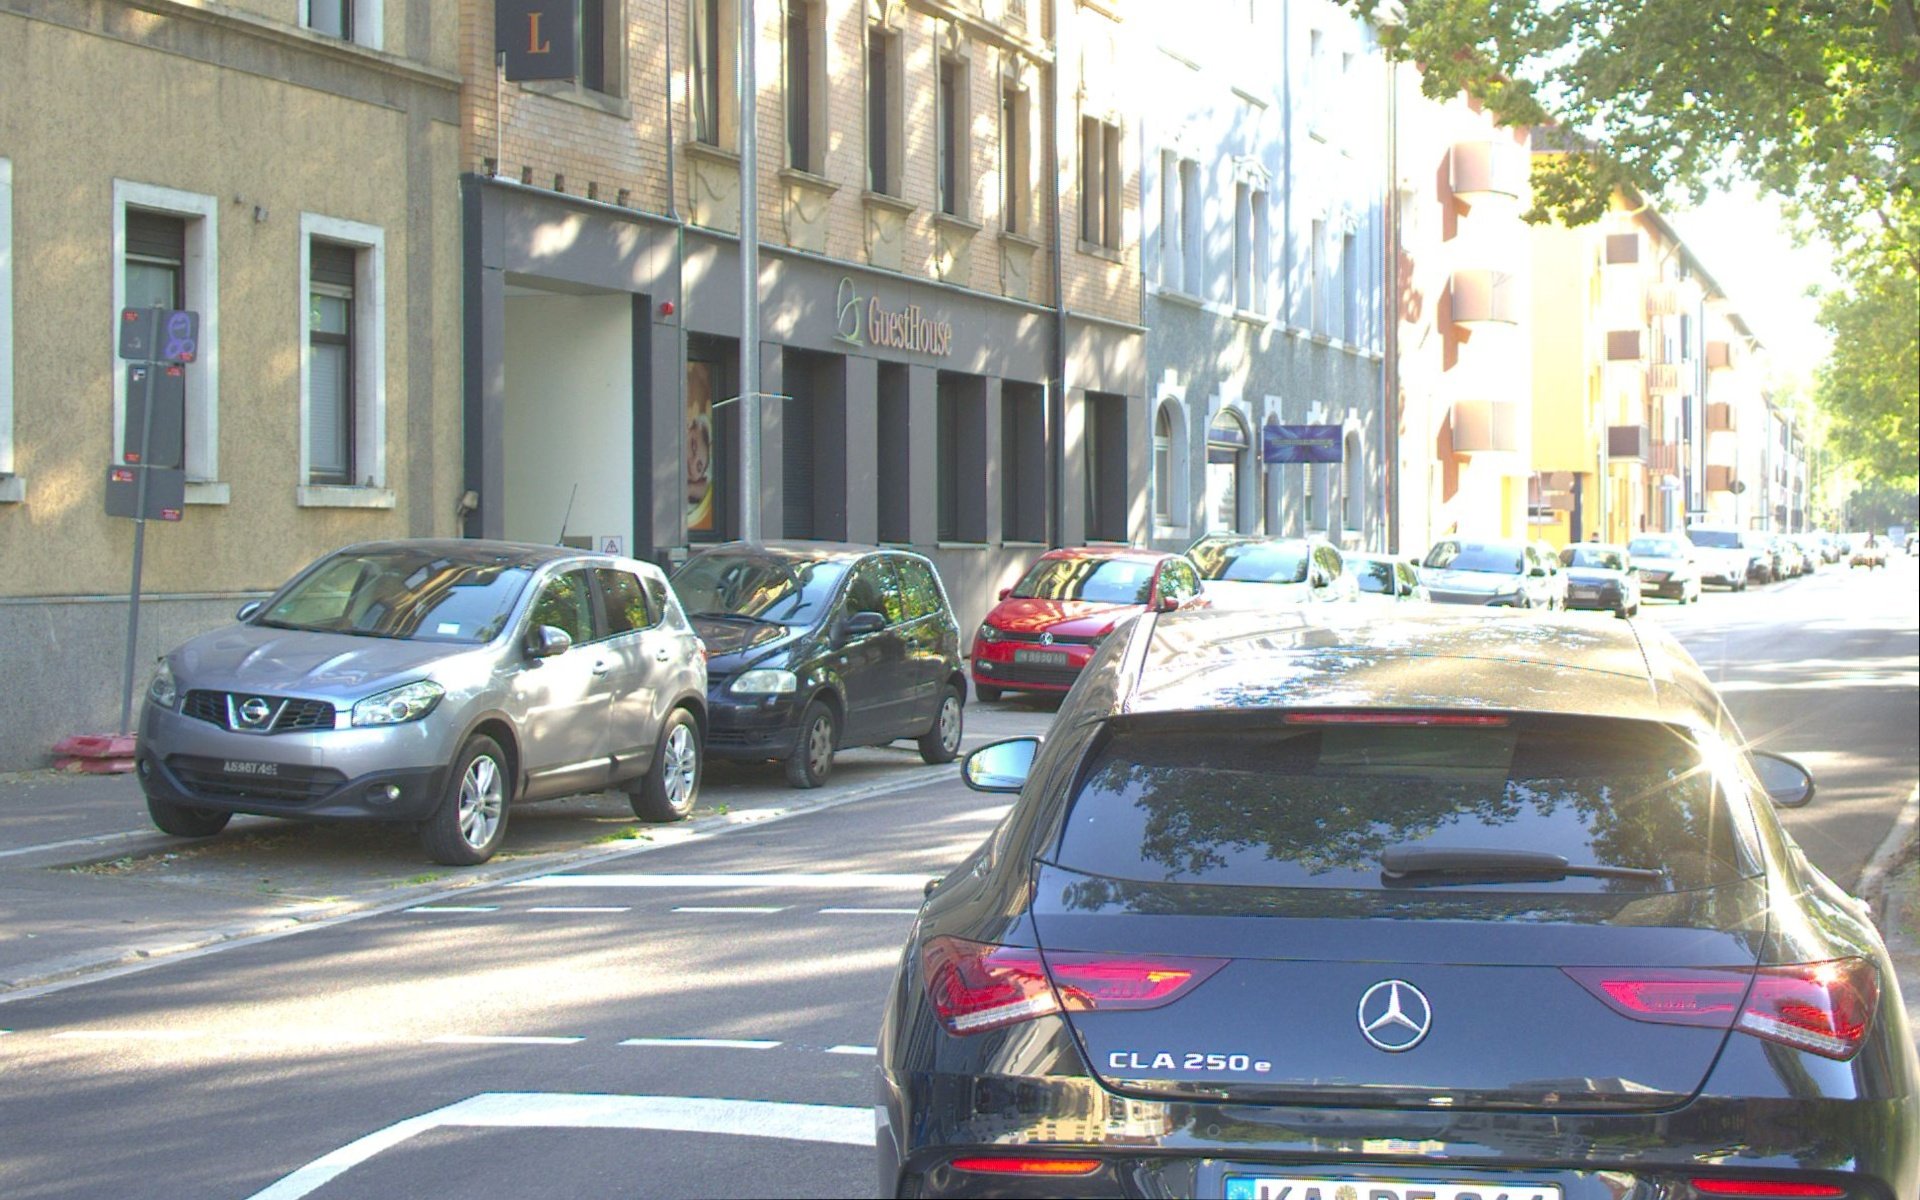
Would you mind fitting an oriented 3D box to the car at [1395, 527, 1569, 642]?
[{"bbox_3d":[8.132,-0.283,53.228,1.910,1.636,4.573,2,2,18],"label":"car"}]

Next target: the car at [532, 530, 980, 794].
[{"bbox_3d":[-1.298,0.347,23.431,1.679,1.599,3.702,2,2,20],"label":"car"}]

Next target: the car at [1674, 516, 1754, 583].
[{"bbox_3d":[22.094,-1.495,100.625,1.736,1.900,5.204,1,2,18],"label":"car"}]

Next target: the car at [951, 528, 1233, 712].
[{"bbox_3d":[1.311,0.136,32.593,1.679,1.586,3.753,2,2,18],"label":"car"}]

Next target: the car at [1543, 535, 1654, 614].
[{"bbox_3d":[12.736,-0.535,68.447,1.679,1.481,3.598,2,2,18],"label":"car"}]

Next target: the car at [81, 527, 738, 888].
[{"bbox_3d":[-2.813,0.462,18.572,1.783,1.667,4.152,2,2,18],"label":"car"}]

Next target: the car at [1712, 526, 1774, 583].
[{"bbox_3d":[25.797,-1.532,113.172,1.746,1.781,4.546,2,2,15],"label":"car"}]

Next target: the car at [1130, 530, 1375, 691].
[{"bbox_3d":[3.211,0.059,37.052,1.679,1.579,4.196,2,2,18],"label":"car"}]

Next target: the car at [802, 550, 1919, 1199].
[{"bbox_3d":[0.841,0.663,7.099,1.745,1.438,3.968,2,2,6],"label":"car"}]

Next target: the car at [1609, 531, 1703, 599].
[{"bbox_3d":[16.432,-0.847,81.014,1.679,1.518,4.017,2,2,18],"label":"car"}]

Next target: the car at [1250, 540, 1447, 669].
[{"bbox_3d":[4.920,0.016,43.160,1.679,1.491,3.868,2,2,18],"label":"car"}]
